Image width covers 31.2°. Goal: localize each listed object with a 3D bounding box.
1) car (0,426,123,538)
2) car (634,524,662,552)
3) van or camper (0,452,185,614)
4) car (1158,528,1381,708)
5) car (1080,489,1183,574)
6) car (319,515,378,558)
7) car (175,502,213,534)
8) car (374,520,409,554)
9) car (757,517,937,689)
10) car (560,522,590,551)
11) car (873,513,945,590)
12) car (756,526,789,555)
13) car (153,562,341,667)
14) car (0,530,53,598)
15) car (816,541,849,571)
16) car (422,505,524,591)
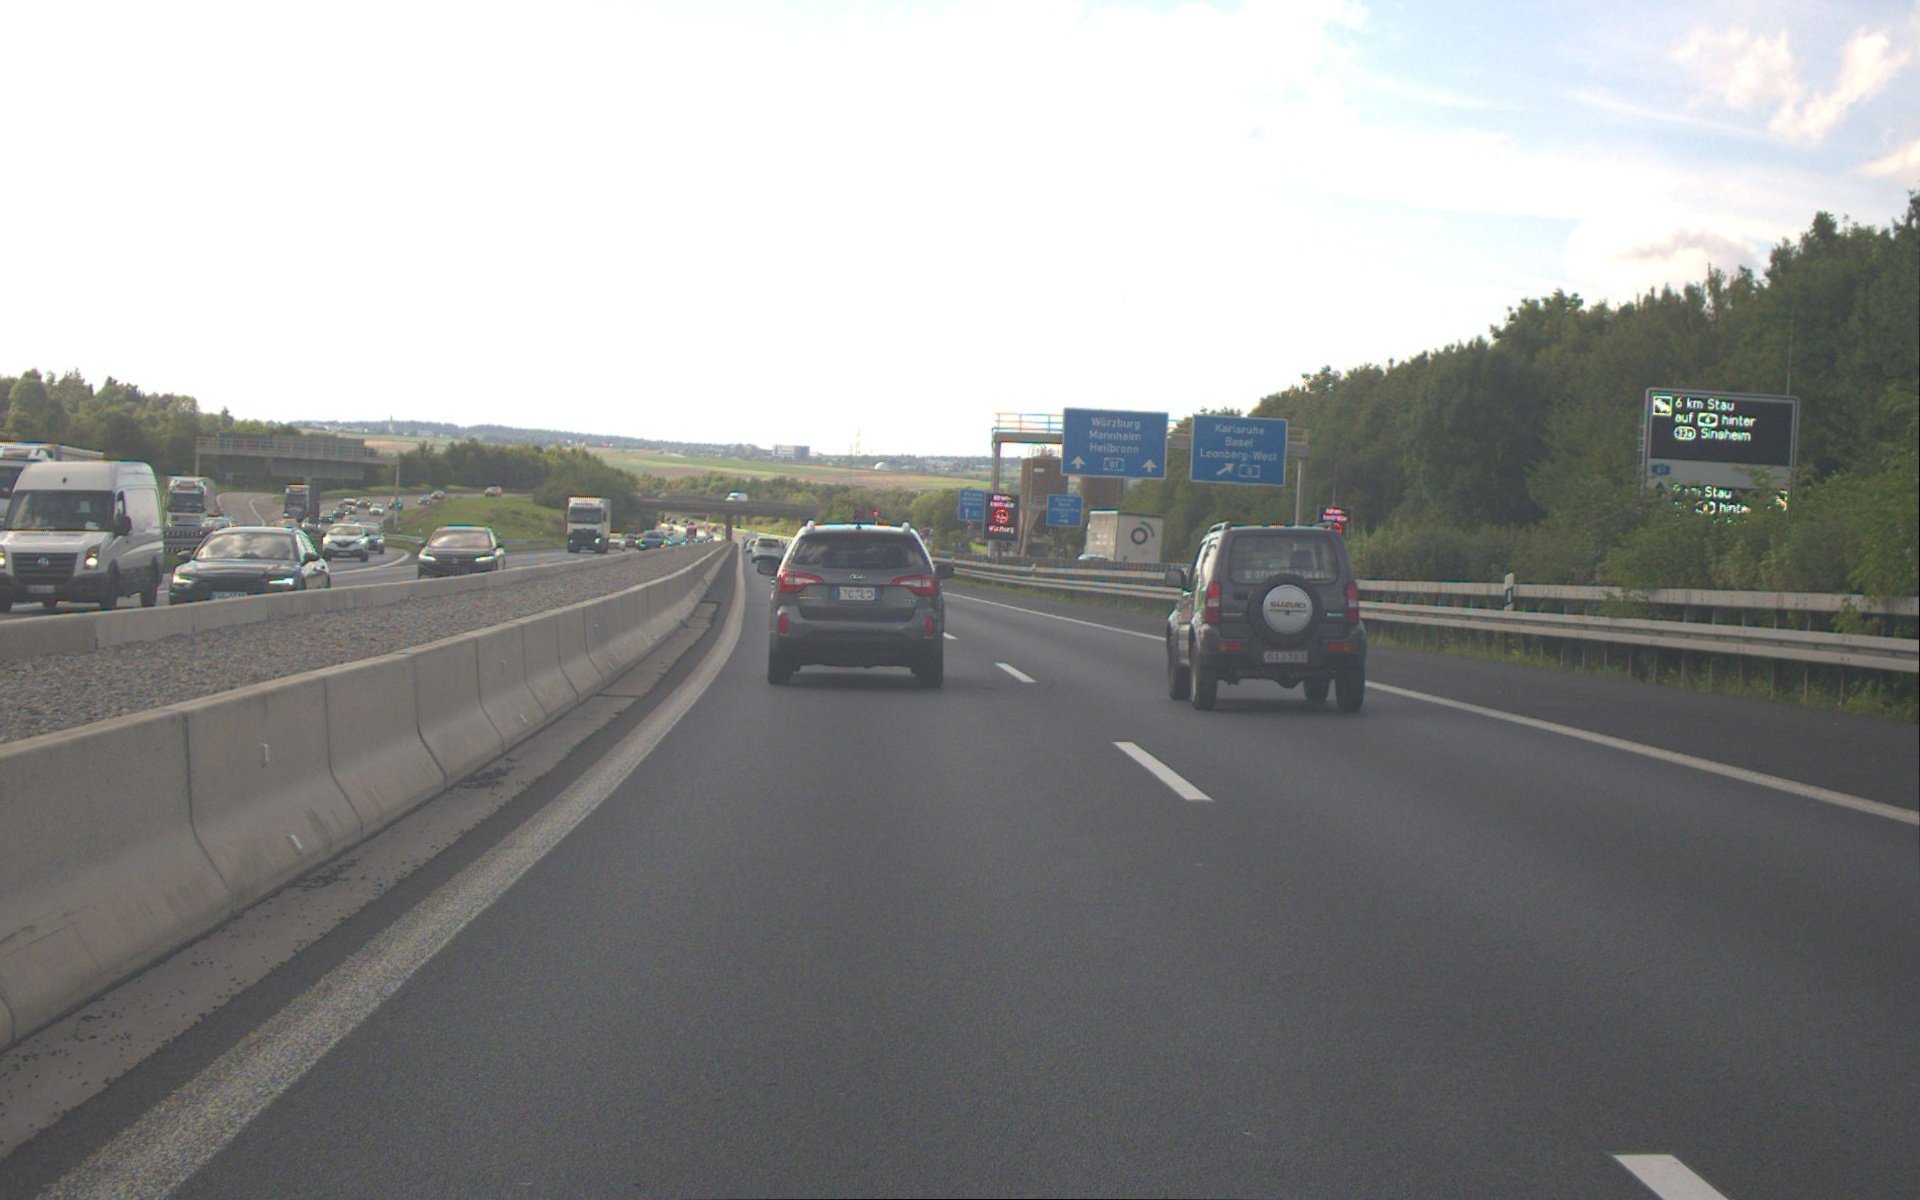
[{"bbox_3d":[-35.645,-4.506,133.983,3.816,4.066,14.833,1,1,-6],"label":"car"},{"bbox_3d":[-22.988,-4.605,253.250,1.819,2.007,4.148,1,1,-7],"label":"car"},{"bbox_3d":[-15.152,-1.159,59.731,1.986,2.615,6.864,1,1,-2],"label":"van or camper"},{"bbox_3d":[2.908,0.124,33.045,1.587,1.591,4.096,1,1,-2],"label":"car"},{"bbox_3d":[9.500,-3.756,192.068,4.728,4.251,11.404,1,-1,-2],"label":"car"},{"bbox_3d":[-25.992,-2.697,146.302,1.993,1.784,4.273,1,1,-4],"label":"car"},{"bbox_3d":[-49.811,-5.337,223.542,1.993,2.007,4.274,1,1,-7],"label":"car"},{"bbox_3d":[-30.163,-3.353,182.402,1.607,1.783,4.274,1,1,-7],"label":"car"},{"bbox_3d":[-1.180,0.027,37.872,1.817,1.730,5.187,1,0,0],"label":"car"},{"bbox_3d":[-27.610,-4.571,246.457,1.993,2.023,4.274,1,1,-7],"label":"car"},{"bbox_3d":[-1.480,-1.403,99.504,2.030,2.144,4.000,1,1,-1],"label":"car"},{"bbox_3d":[-11.926,-3.775,218.161,1.993,1.678,4.000,1,-1,-4],"label":"car"},{"bbox_3d":[-10.546,0.179,51.189,1.925,1.430,4.778,1,1,-2],"label":"car"},{"bbox_3d":[-19.243,-0.730,67.684,1.626,1.289,4.756,1,1,-2],"label":"car"},{"bbox_3d":[-8.847,-3.061,238.652,1.993,1.922,4.001,1,-1,-6],"label":"car"},{"bbox_3d":[-11.805,-1.267,83.598,1.993,2.007,4.273,1,1,-2],"label":"car"}]
